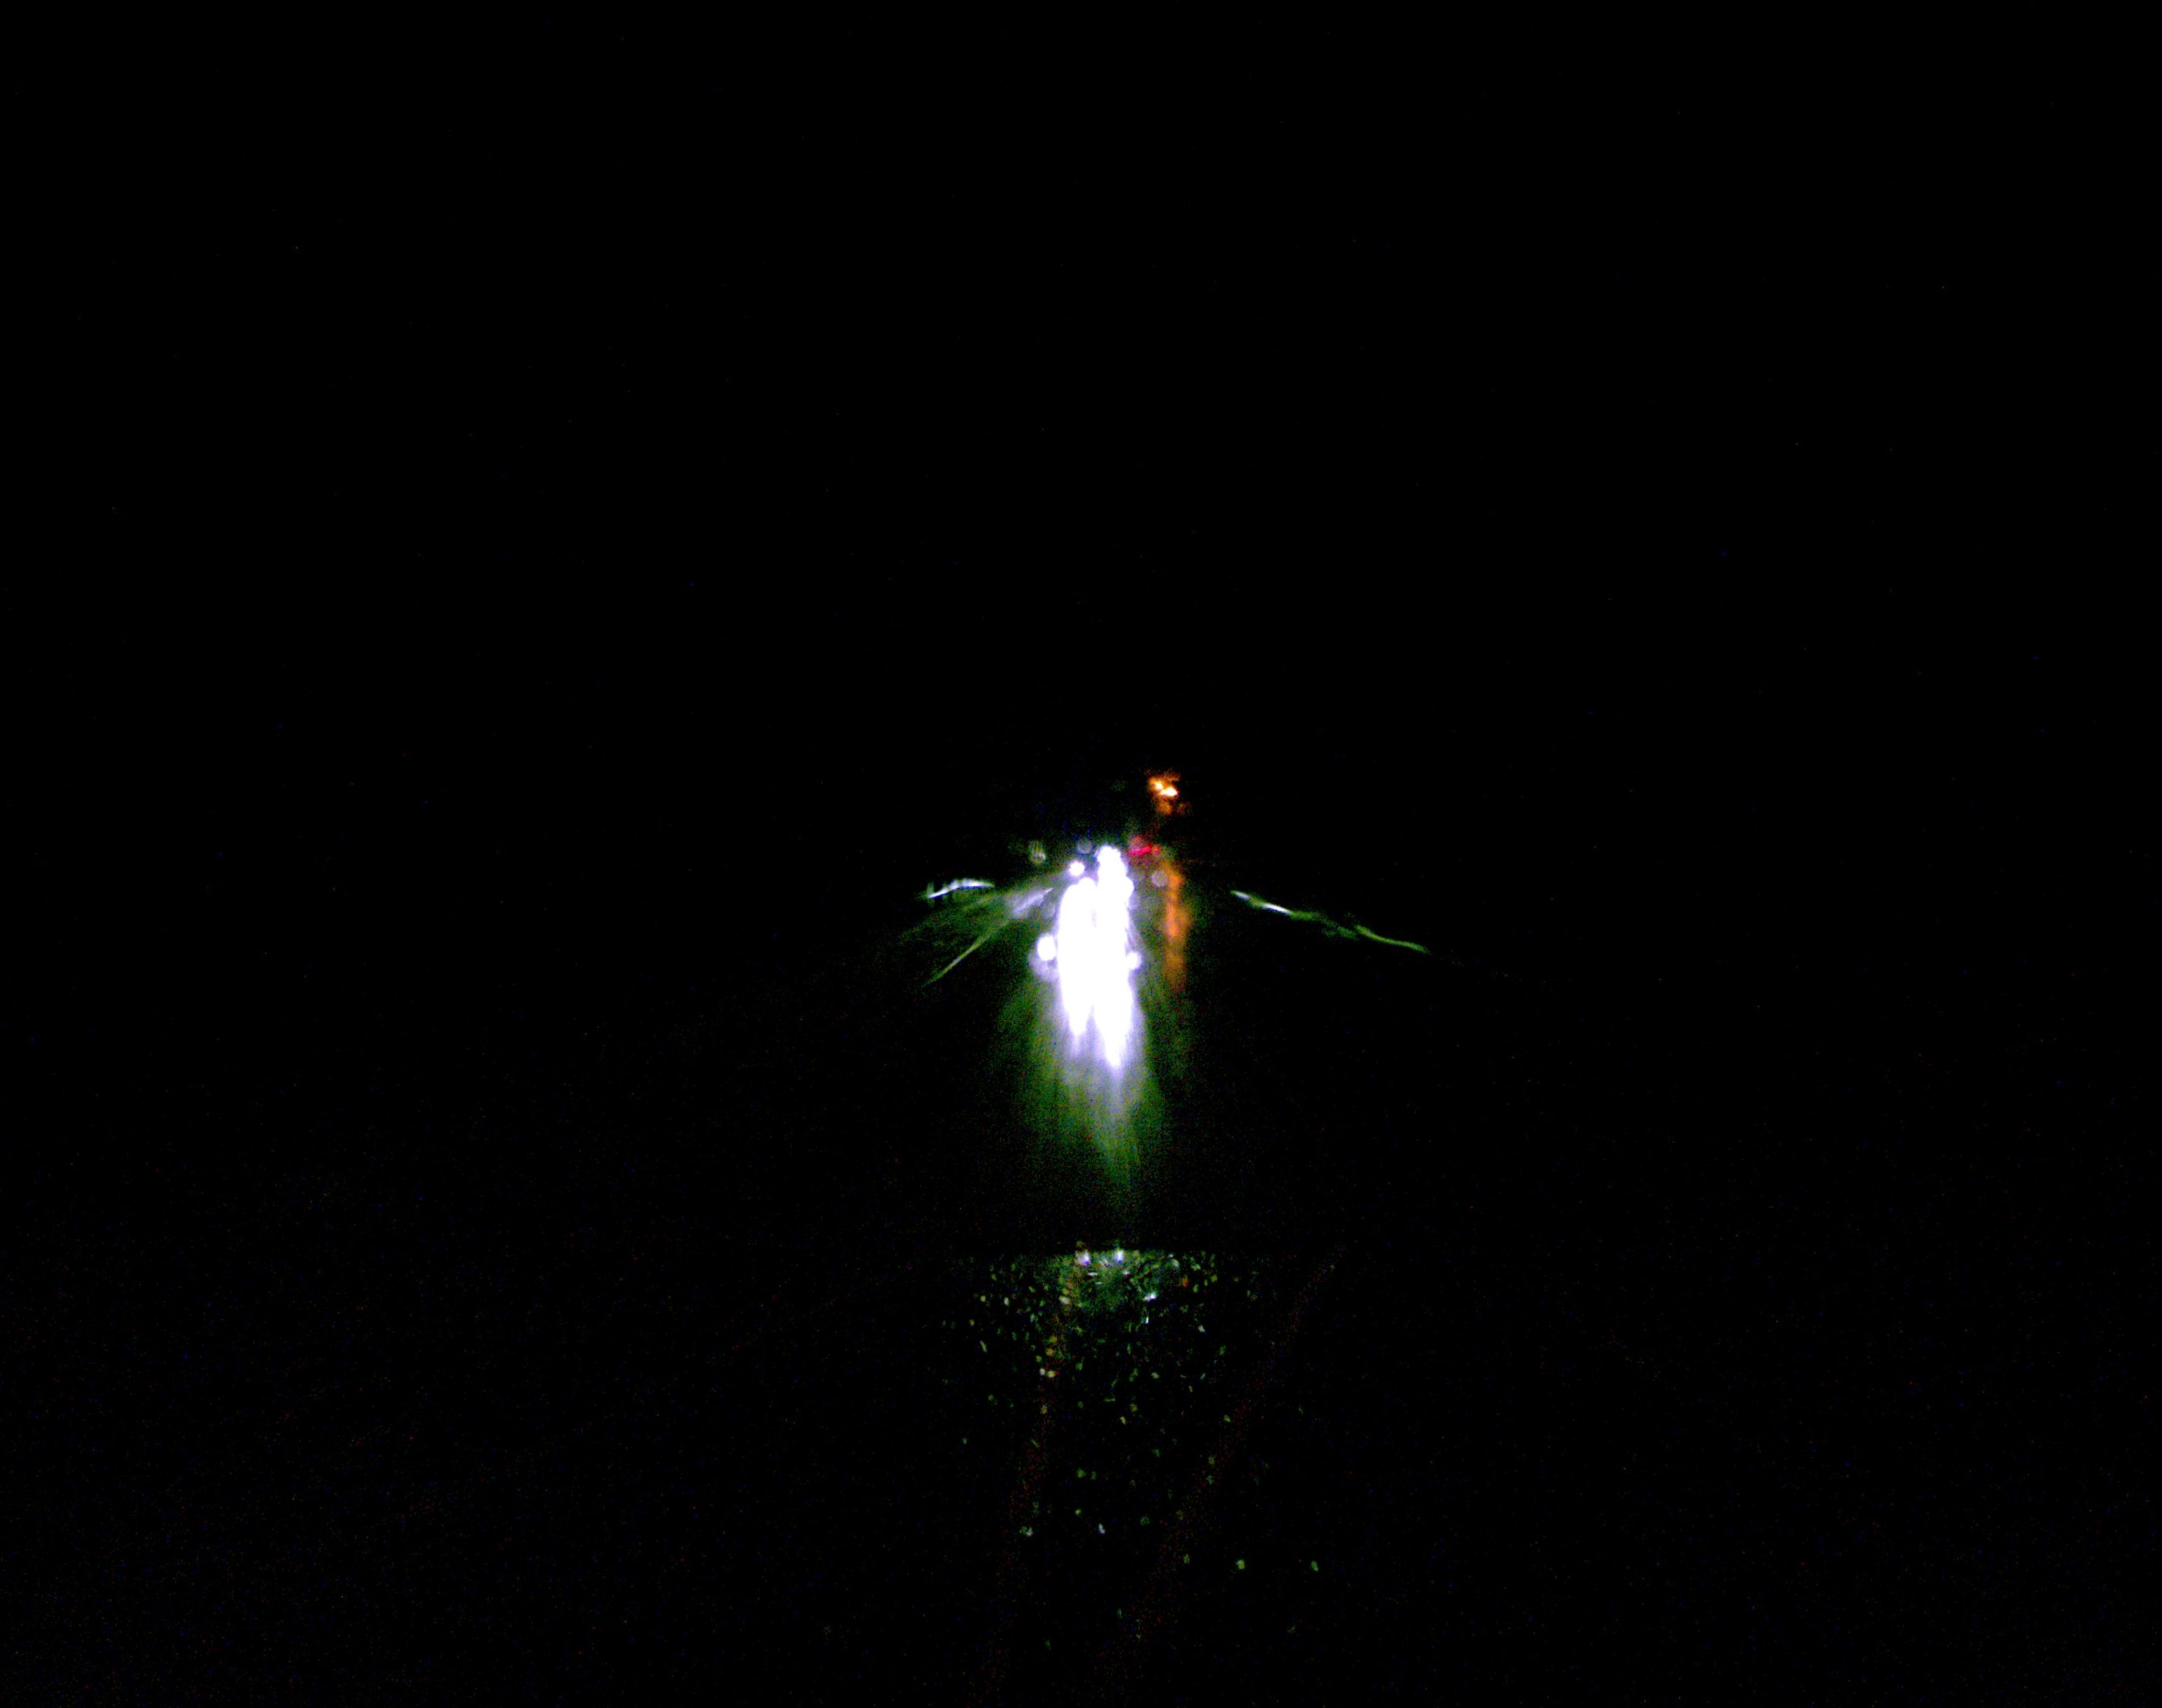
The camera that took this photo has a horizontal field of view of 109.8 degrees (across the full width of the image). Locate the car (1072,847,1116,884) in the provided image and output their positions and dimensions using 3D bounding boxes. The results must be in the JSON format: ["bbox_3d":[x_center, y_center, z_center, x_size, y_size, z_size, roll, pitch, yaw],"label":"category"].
[{"bbox_3d":[0.617,0.552,36.810,1.944,1.580,4.776,-3,-1,0],"label":"car"}]

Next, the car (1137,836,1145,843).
[{"bbox_3d":[13.161,-3.193,166.695,1.805,1.484,3.867,-2,2,4],"label":"car"}]

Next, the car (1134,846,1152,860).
[{"bbox_3d":[7.489,-0.147,92.262,1.919,1.467,4.202,-3,2,3],"label":"car"}]
